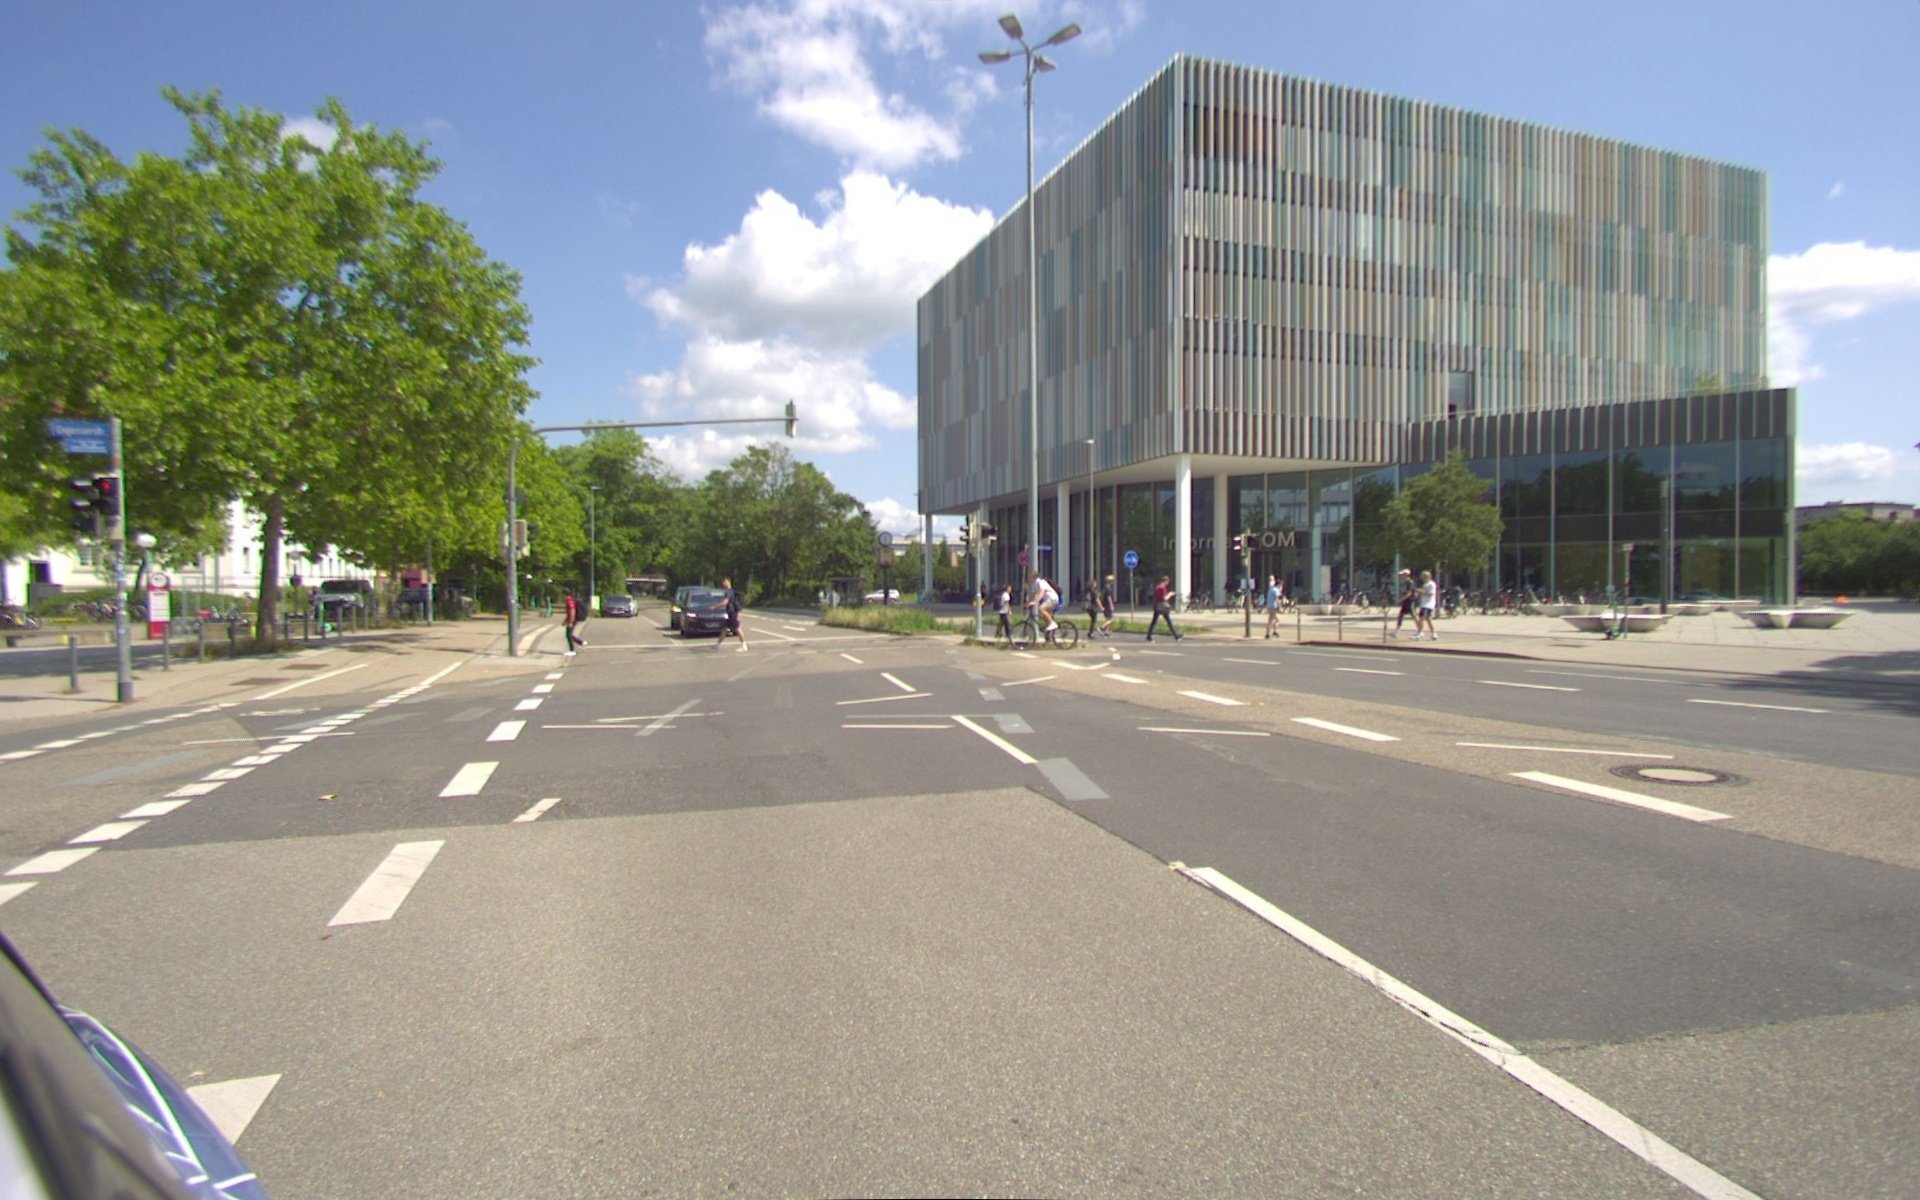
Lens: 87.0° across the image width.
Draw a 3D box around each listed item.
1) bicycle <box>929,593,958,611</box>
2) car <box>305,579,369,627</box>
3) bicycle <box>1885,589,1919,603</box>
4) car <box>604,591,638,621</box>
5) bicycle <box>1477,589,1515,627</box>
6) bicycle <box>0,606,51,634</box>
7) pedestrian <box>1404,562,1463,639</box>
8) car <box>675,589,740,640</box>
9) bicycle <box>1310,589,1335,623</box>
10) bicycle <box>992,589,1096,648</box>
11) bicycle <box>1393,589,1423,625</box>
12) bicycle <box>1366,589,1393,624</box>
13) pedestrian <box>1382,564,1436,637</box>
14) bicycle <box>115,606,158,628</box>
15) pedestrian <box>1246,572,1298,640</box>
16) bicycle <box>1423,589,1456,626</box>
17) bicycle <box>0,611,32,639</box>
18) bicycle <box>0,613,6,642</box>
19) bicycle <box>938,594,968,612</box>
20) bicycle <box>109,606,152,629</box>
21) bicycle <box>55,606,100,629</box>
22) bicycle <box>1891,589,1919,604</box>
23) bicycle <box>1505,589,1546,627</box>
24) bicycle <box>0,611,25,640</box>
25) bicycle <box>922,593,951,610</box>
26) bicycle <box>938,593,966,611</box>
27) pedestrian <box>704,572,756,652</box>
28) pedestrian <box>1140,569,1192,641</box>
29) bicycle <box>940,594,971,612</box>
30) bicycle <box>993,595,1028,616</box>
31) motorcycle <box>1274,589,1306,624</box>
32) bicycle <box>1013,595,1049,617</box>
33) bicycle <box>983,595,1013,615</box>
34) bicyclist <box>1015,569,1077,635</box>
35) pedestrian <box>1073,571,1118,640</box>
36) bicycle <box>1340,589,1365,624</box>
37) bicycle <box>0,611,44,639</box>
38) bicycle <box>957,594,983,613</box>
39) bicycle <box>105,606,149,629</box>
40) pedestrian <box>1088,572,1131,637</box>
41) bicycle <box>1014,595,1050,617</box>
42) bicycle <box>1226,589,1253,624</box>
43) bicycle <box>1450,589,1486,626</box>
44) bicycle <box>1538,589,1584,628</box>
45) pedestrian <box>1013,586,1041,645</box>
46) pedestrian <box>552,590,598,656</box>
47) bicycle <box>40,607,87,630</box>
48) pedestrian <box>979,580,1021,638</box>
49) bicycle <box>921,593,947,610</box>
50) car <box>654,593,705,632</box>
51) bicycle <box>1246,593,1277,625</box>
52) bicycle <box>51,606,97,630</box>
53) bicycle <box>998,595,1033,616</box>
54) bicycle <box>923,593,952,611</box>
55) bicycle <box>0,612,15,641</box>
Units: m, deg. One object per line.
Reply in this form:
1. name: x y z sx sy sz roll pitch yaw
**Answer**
1. bicycle: -1.471 0.178 88.754 2.470 1.506 0.623 -1 0 -16
2. car: -28.102 0.115 45.743 1.965 2.070 4.243 0 0 -25
3. bicycle: 67.673 -0.296 72.351 2.247 1.024 0.642 0 0 41
4. car: -21.344 0.353 63.661 1.880 1.796 4.013 0 0 -20
5. bicycle: 23.480 0.331 44.380 0.992 1.564 3.392 -1 0 20
6. bicycle: -33.165 0.712 35.891 1.348 0.958 0.353 -1 0 -22
7. pedestrian: 12.259 0.019 26.253 1.096 1.940 0.970 -1 0 6
8. car: -8.659 0.447 34.460 1.815 1.614 4.013 0 0 -19
9. bicycle: 17.369 0.291 48.502 1.044 1.564 3.392 -1 0 20
10. bicycle: 1.881 0.400 22.721 2.128 1.261 0.888 -1 0 -17
11. bicycle: 20.565 0.312 46.477 0.992 1.564 3.392 -1 0 20
12. bicycle: 19.515 0.303 47.131 0.992 1.564 3.392 -1 0 20
13. pedestrian: 12.235 0.014 27.612 1.097 1.940 0.969 -1 0 9
14. bicycle: -35.985 0.733 44.251 1.404 0.958 0.353 -1 0 -22
15. pedestrian: 9.113 0.159 29.607 1.091 1.940 0.974 -1 0 -12
16. bicycle: 21.550 0.322 45.529 0.992 1.564 3.392 -1 0 20
17. bicycle: -32.851 0.865 34.792 1.348 0.958 0.353 0 0 -22
18. bicycle: -32.183 0.922 33.108 1.348 0.958 0.353 -1 0 -22
19. bicycle: -0.600 0.215 86.122 2.470 1.506 0.623 -1 0 -16
20. bicycle: -35.811 0.741 43.694 1.404 0.958 0.353 -1 0 -22
21. bicycle: -37.722 0.756 43.284 1.404 0.958 0.353 -1 0 -22
22. bicycle: 65.969 -0.266 70.016 2.247 1.024 0.642 0 0 41
23. bicycle: 24.540 0.326 43.956 0.992 1.563 3.392 -1 0 20
24. bicycle: -32.654 0.872 34.337 1.348 0.958 0.353 0 0 -22
25. bicycle: -2.090 0.156 90.279 2.470 1.506 0.623 -1 0 -16
26. bicycle: -0.710 0.198 87.208 2.292 1.506 0.623 -1 0 -16
27. pedestrian: -5.689 0.297 25.091 1.018 1.940 0.971 -1 0 1
28. pedestrian: 5.636 0.133 27.739 1.091 1.940 0.974 -1 0 -11
29. bicycle: -0.358 0.231 85.029 2.470 1.506 0.623 -1 0 -16
30. bicycle: 3.651 0.389 73.667 2.470 1.506 0.623 -1 0 -16
31. motorcycle: 16.030 0.316 49.114 0.967 1.652 3.267 -1 0 28
32. bicycle: 4.996 0.420 71.260 2.474 1.506 0.731 -1 0 -6
33. bicycle: 2.878 0.346 76.677 2.164 1.506 0.623 -1 0 -16
34. bicyclist: 1.924 0.036 22.732 1.058 1.455 0.975 -1 0 -18
35. pedestrian: 3.880 0.143 29.043 0.864 1.940 0.975 -1 0 -24
36. bicycle: 18.522 0.298 47.758 0.992 1.564 3.392 -1 0 20
37. bicycle: -32.888 0.858 35.311 1.348 0.958 0.353 0 0 -22
38. bicycle: 0.792 0.262 82.688 2.037 1.506 0.623 -1 0 -16
39. bicycle: -35.591 0.747 43.227 1.404 0.958 0.353 -1 0 -22
40. pedestrian: 4.543 0.122 30.824 0.864 1.940 0.975 -1 0 -24
41. bicycle: 5.023 0.438 70.216 2.411 1.506 0.623 -1 0 -16
42. bicycle: 13.898 0.310 50.244 0.806 1.656 3.386 -1 0 24
43. bicycle: 22.562 0.325 45.027 0.992 1.564 3.392 -1 0 20
44. bicycle: 25.136 0.346 42.401 0.992 1.564 3.392 -1 0 20
45. pedestrian: 1.745 0.398 26.267 0.581 1.515 0.417 -1 0 -35
46. pedestrian: -9.738 0.562 25.592 1.045 1.609 0.975 -1 0 -21
47. bicycle: -37.411 0.770 42.247 1.404 0.958 0.353 -1 0 -22
48. pedestrian: 1.171 0.255 29.531 0.864 1.641 0.975 -1 0 -24
49. bicycle: -2.379 0.139 91.539 2.265 1.506 0.659 -1 0 -16
50. car: -11.731 0.488 42.124 1.815 1.548 4.013 0 0 -19
51. bicycle: 14.838 0.419 49.755 0.929 1.505 2.662 -1 0 28
52. bicycle: -37.550 0.761 42.904 1.404 0.958 0.353 -1 0 -22
53. bicycle: 4.086 0.371 74.736 2.470 1.506 0.623 -1 0 -16
54. bicycle: -1.986 0.168 89.577 2.470 1.506 0.623 -1 0 -16
55. bicycle: -32.438 0.895 33.712 1.348 0.958 0.353 0 0 -22
